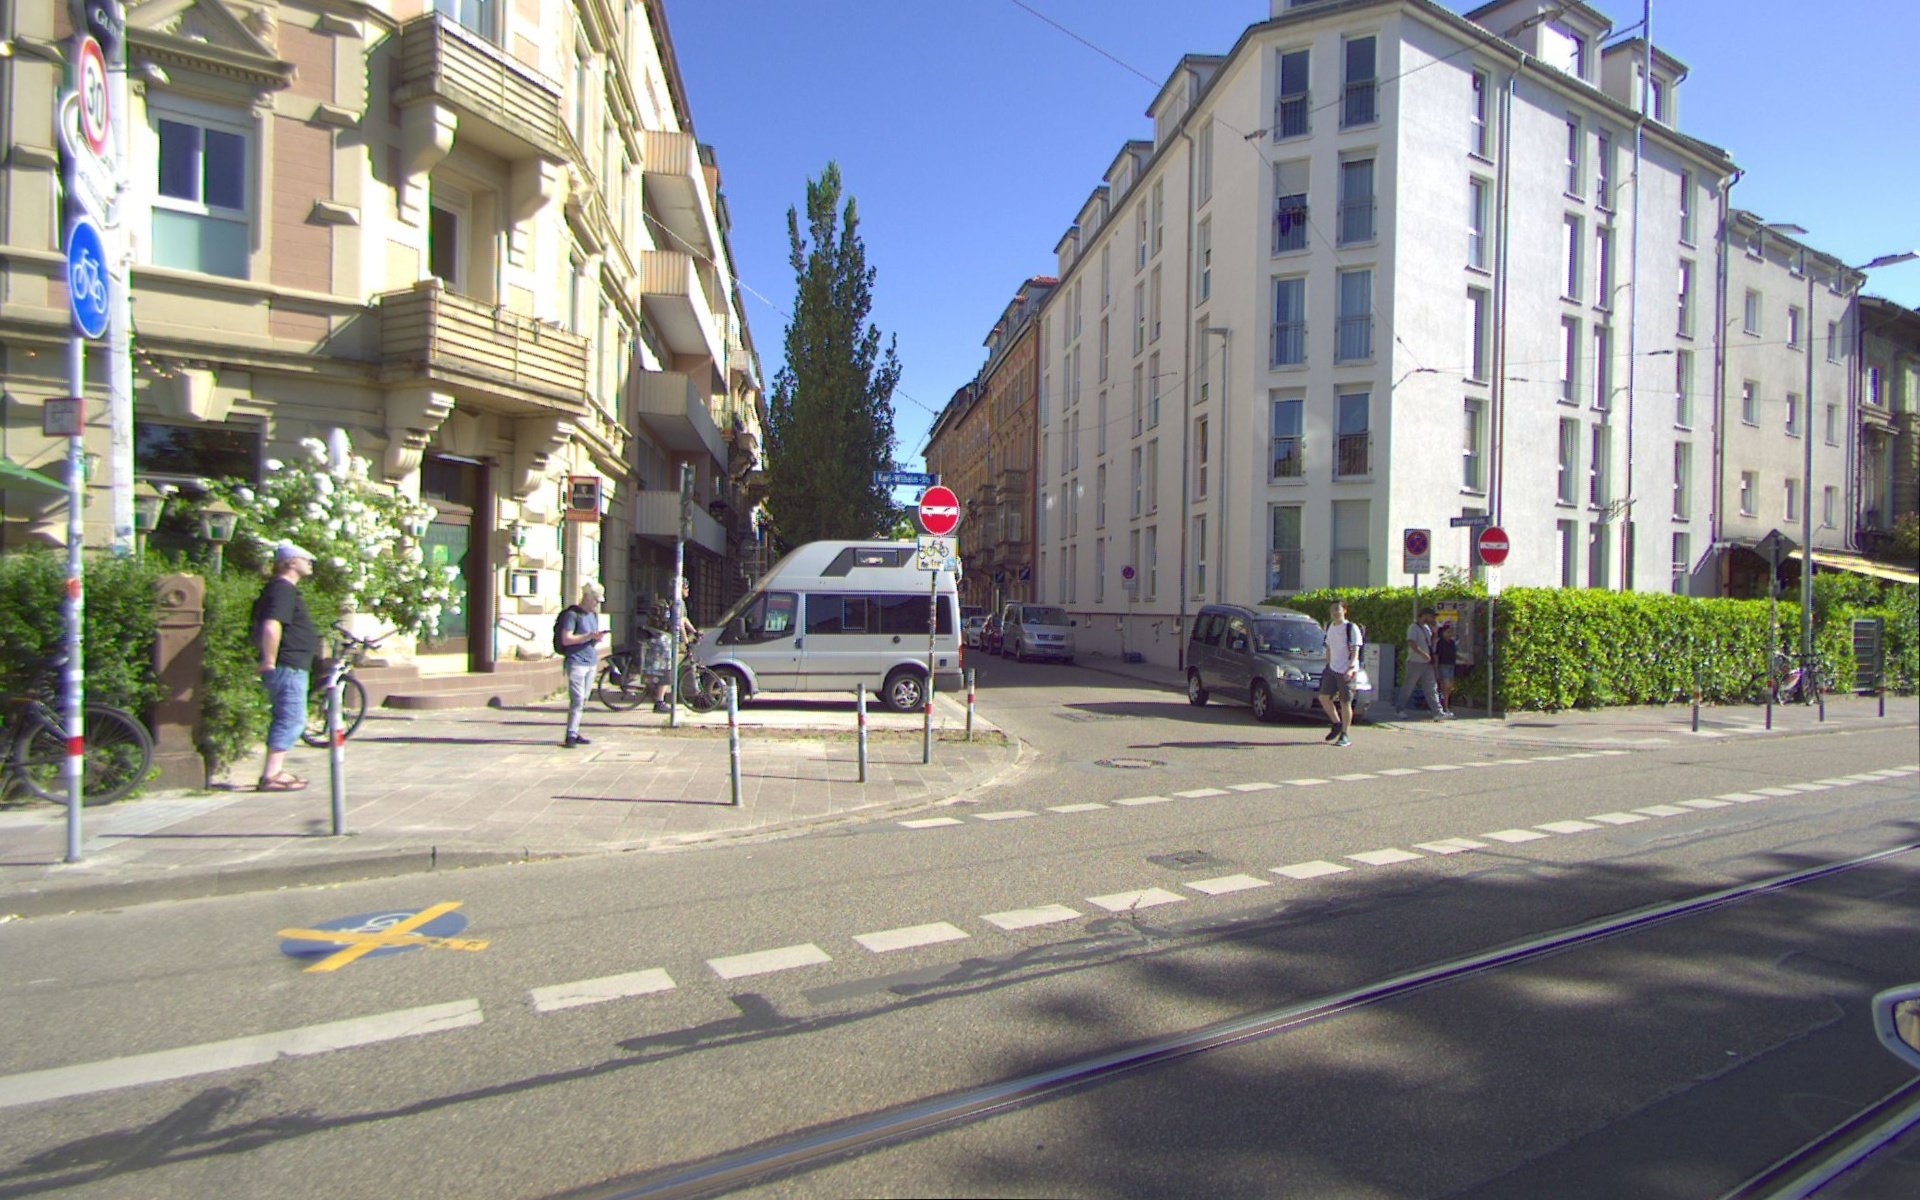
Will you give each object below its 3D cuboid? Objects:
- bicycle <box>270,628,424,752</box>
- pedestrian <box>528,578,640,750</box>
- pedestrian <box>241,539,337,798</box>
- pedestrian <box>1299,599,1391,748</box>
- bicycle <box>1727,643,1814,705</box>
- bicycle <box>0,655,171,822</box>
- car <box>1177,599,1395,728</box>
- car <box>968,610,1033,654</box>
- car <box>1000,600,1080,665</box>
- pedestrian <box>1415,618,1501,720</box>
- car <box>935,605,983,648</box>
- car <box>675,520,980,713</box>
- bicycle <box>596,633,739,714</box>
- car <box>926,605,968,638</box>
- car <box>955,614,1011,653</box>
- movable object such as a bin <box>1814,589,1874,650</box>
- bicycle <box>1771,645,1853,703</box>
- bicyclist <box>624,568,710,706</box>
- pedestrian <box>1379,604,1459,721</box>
[{"bbox_3d":[-6.120,0.849,10.184,0.862,1.058,2.237,2,-1,-20],"label":"bicycle"},{"bbox_3d":[-3.852,0.644,10.342,0.816,1.676,0.707,2,-1,2],"label":"pedestrian"},{"bbox_3d":[-4.933,0.485,7.401,0.533,1.805,0.553,1,0,-33],"label":"pedestrian"},{"bbox_3d":[4.823,0.892,12.593,0.856,1.791,0.688,1,0,-30],"label":"pedestrian"},{"bbox_3d":[15.840,1.442,19.627,1.818,1.104,0.658,2,2,-30],"label":"bicycle"},{"bbox_3d":[-6.136,0.865,6.321,1.757,0.994,0.524,1,0,-31],"label":"bicycle"},{"bbox_3d":[5.199,0.964,16.639,1.759,1.831,4.048,2,-1,-9],"label":"car"},{"bbox_3d":[1.558,1.249,39.939,1.782,1.589,3.994,2,-1,-9],"label":"car"},{"bbox_3d":[2.640,1.084,34.086,1.782,2.006,3.994,2,-1,-9],"label":"car"},{"bbox_3d":[7.791,1.061,15.755,0.743,1.498,0.955,2,1,-11],"label":"pedestrian"},{"bbox_3d":[-0.089,1.305,50.288,1.782,2.035,3.994,2,-1,-9],"label":"car"},{"bbox_3d":[-2.208,0.322,16.786,4.702,2.878,1.888,2,-1,-13],"label":"car"},{"bbox_3d":[-4.145,1.039,14.269,1.814,1.069,0.701,3,-1,-30],"label":"bicycle"},{"bbox_3d":[-0.760,1.220,56.811,1.782,1.754,3.994,2,-1,-9],"label":"car"},{"bbox_3d":[0.984,1.467,45.001,1.782,1.589,3.994,2,-1,-9],"label":"car"},{"bbox_3d":[22.154,0.493,25.179,1.244,1.476,0.802,1,-1,-32],"label":"movable object such as a bin"},{"bbox_3d":[17.505,1.514,20.634,1.818,1.104,0.658,2,2,-30],"label":"bicycle"},{"bbox_3d":[-4.164,0.527,14.265,0.974,1.878,0.701,3,-1,-30],"label":"bicyclist"},{"bbox_3d":[7.087,0.950,15.530,0.743,1.737,0.806,2,1,-11],"label":"pedestrian"}]
